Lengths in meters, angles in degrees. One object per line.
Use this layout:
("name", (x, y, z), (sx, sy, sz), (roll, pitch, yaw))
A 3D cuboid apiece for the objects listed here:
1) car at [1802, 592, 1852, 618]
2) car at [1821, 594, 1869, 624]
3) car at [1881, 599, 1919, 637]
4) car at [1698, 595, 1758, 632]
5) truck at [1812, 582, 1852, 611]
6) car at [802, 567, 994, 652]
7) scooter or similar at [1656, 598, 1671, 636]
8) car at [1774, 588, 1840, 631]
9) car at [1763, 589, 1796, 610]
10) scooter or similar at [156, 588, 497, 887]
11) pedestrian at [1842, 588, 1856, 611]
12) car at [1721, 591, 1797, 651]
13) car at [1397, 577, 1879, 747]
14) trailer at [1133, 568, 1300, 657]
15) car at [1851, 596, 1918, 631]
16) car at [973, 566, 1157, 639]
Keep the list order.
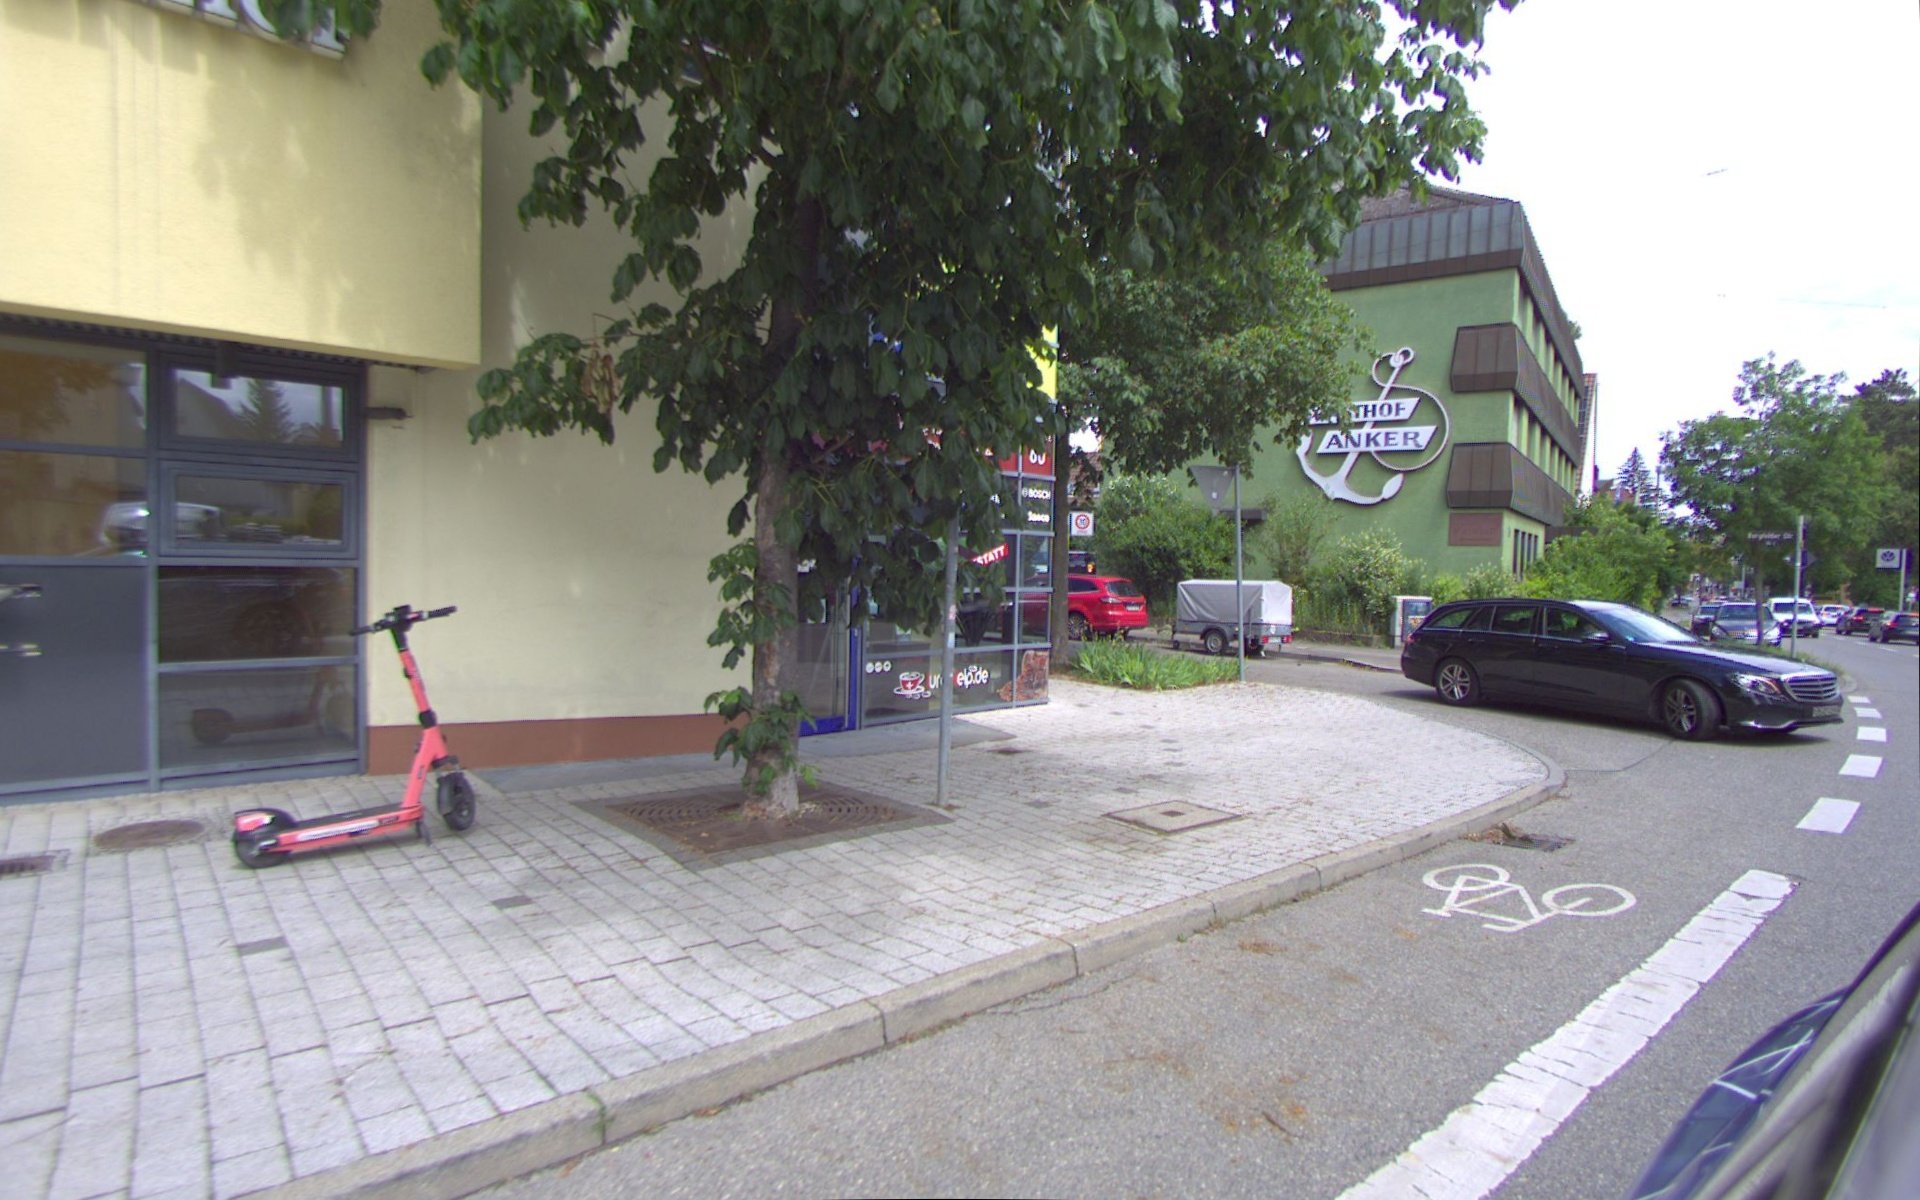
("car", (59.542, 0.326, 69.554), (1.823, 1.542, 4.126), (3, 3, 31))
("car", (53.892, 0.534, 61.653), (1.684, 1.598, 3.754), (3, 3, 34))
("car", (40.011, 0.761, 42.243), (1.766, 1.442, 4.057), (5, 4, 35))
("car", (35.906, 0.576, 47.408), (1.979, 1.465, 4.692), (3, 3, 35))
("truck", (81.120, -0.367, 94.201), (2.300, 2.449, 6.015), (1, 2, 36))
("car", (-1.254, 0.099, 19.469), (3.593, 1.463, 1.705), (2, 2, 43))
("scooter or similar", (25.184, 0.606, 36.228), (0.300, 1.320, 1.386), (6, 3, 35))
("car", (39.182, 0.392, 46.885), (1.955, 1.829, 4.374), (1, 2, 35))
("car", (72.174, -0.034, 89.178), (1.860, 1.637, 4.478), (4, 2, 35))
("scooter or similar", (-3.192, 0.616, 5.190), (1.434, 1.332, 0.381), (-1, 2, -41))
("pedestrian", (68.112, -0.062, 77.541), (0.680, 1.758, 0.858), (1, 2, 35))
("car", (25.159, 0.641, 31.963), (1.686, 1.687, 4.402), (3, 1, 37))
("car", (7.950, 0.558, 12.489), (1.773, 1.648, 4.695), (0, 2, -25))
("trailer", (5.383, 0.221, 21.504), (1.369, 1.601, 3.166), (1, 3, -41))
("car", (46.450, 0.643, 50.927), (1.770, 1.542, 4.408), (3, 3, 34))
("car", (2.433, -0.015, 24.305), (4.246, 1.463, 1.704), (5, 4, 45))
